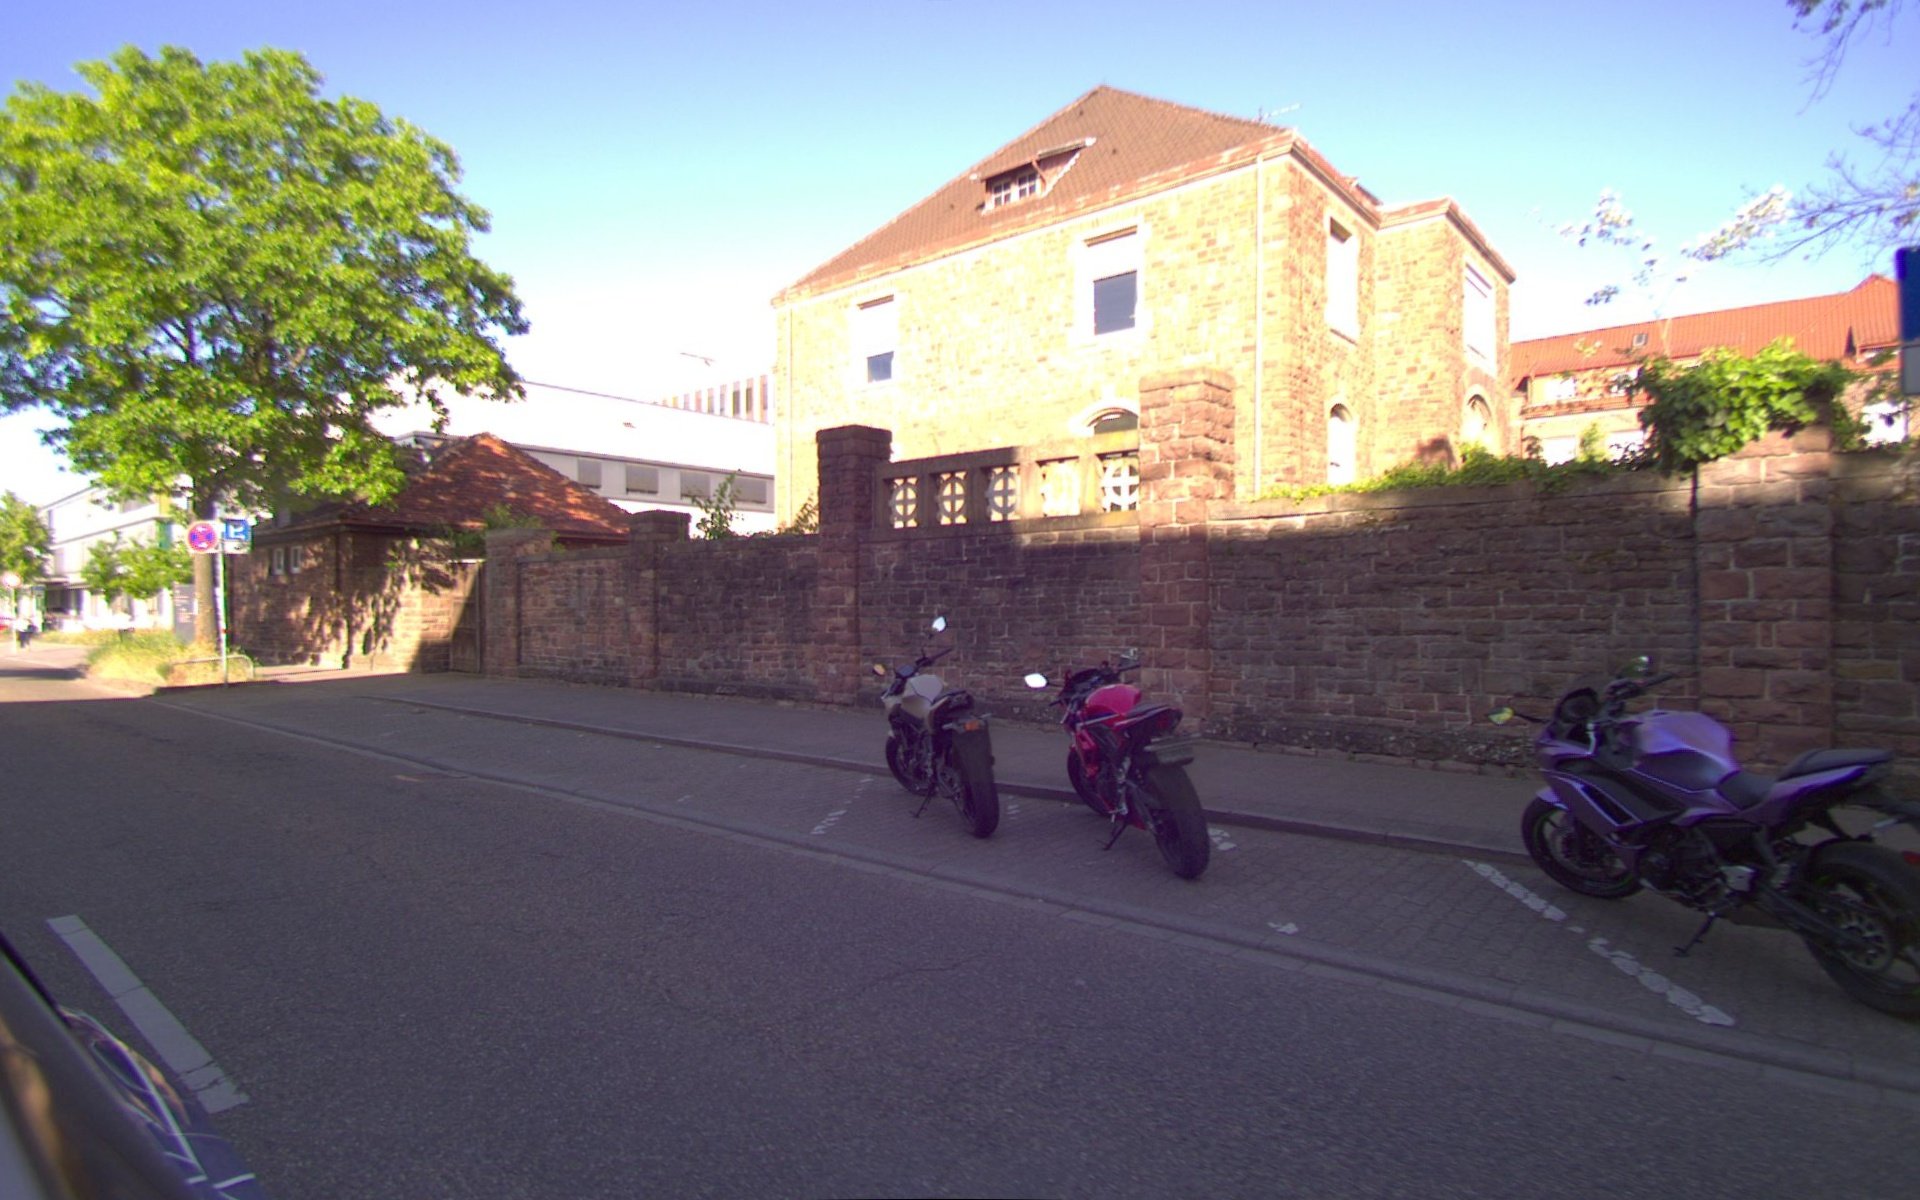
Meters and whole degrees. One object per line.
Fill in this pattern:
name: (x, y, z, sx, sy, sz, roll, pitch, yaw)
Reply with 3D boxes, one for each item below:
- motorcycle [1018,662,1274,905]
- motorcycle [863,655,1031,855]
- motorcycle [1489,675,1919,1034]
motorcycle: (0.996, 0.969, 6.047, 0.523, 1.047, 2.097, -2, 0, -19)
motorcycle: (-0.166, 0.972, 7.026, 0.523, 1.047, 2.097, -2, 0, -19)
motorcycle: (3.195, 0.891, 4.043, 0.591, 1.040, 2.134, -1, -1, -16)
